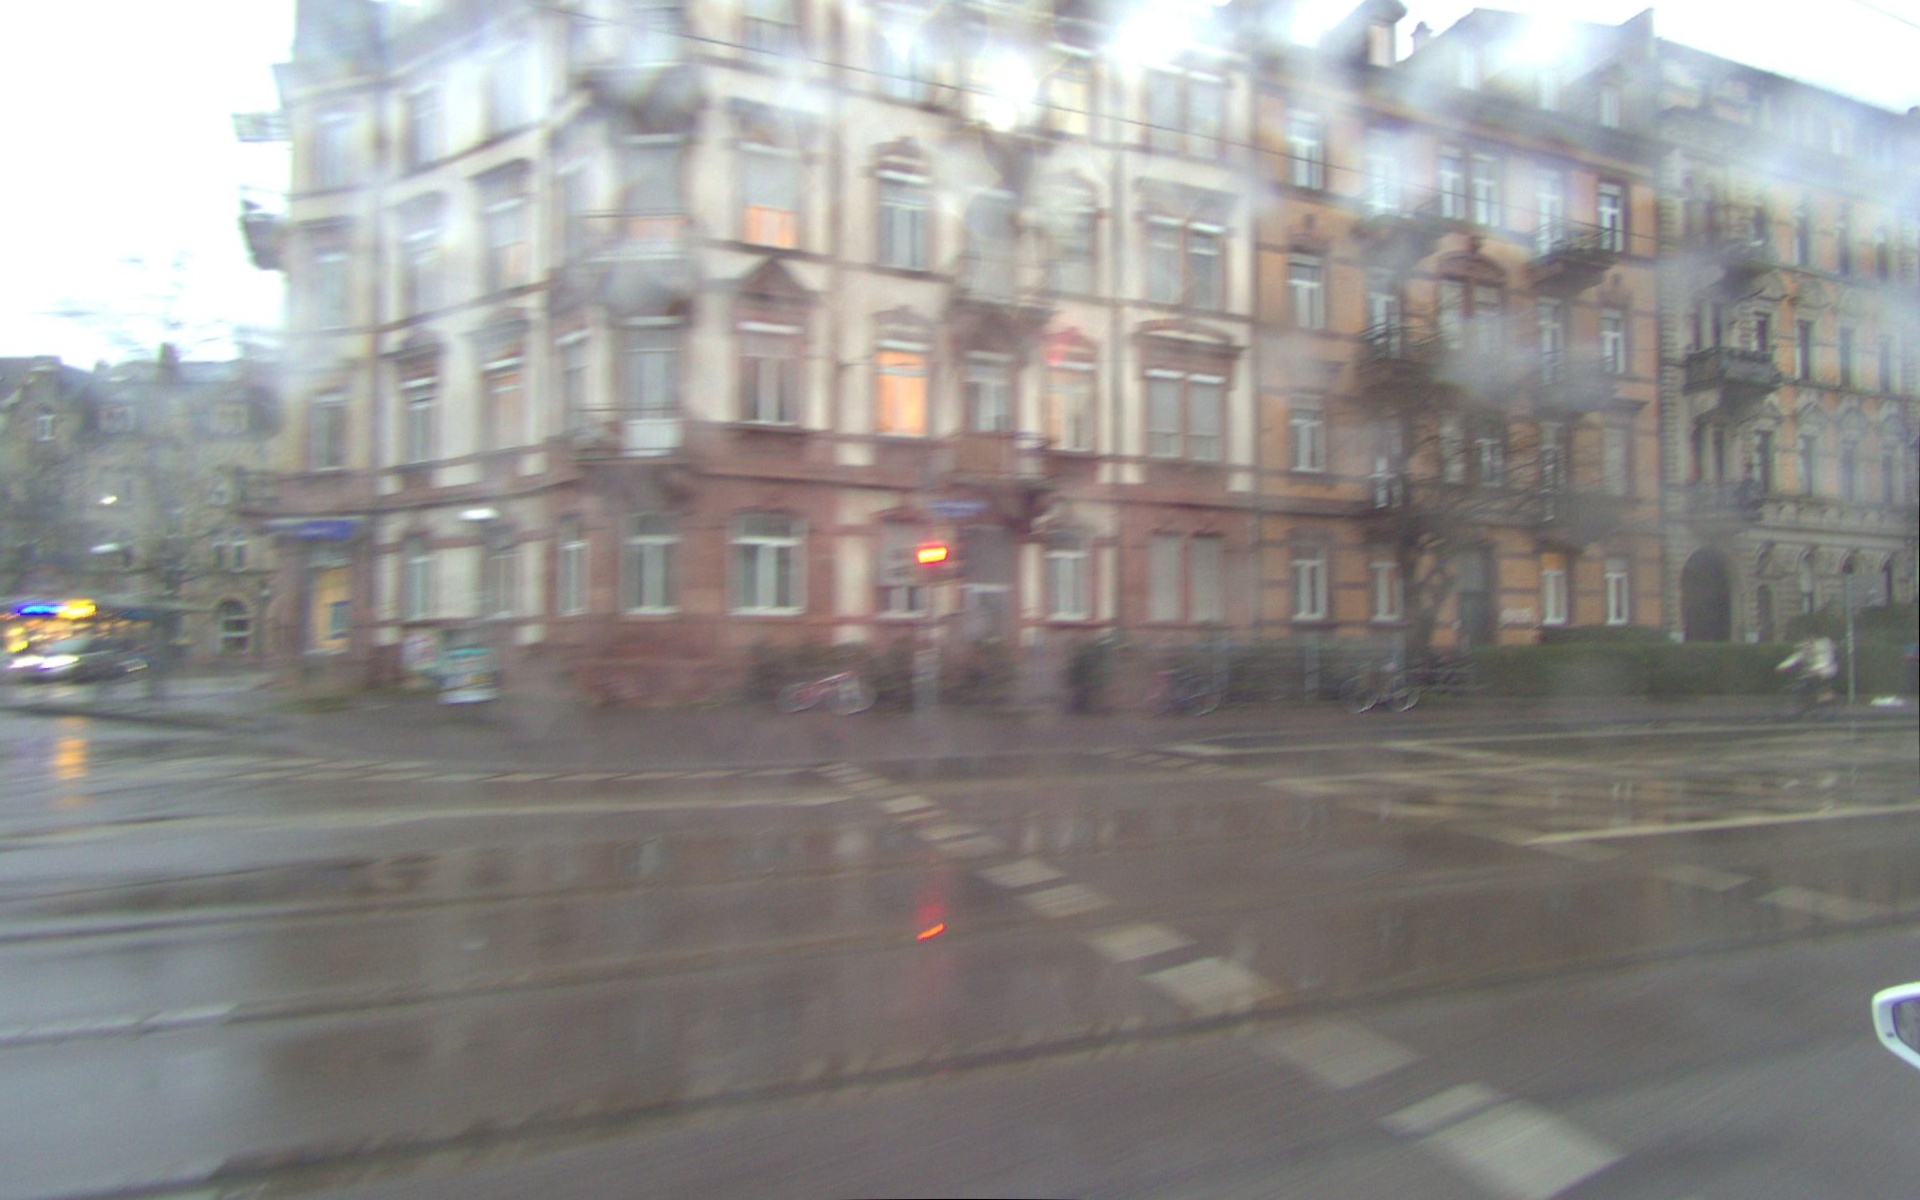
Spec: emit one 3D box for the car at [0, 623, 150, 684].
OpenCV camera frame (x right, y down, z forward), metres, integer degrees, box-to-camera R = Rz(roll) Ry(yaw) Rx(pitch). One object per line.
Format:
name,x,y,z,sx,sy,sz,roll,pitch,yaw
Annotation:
car,-28.236,1.685,31.717,1.842,1.795,3.866,-1,-3,8

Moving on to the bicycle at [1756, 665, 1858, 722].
bicycle,16.100,1.764,19.098,1.775,1.020,0.681,1,-2,-20

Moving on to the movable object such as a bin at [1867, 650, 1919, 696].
movable object such as a bin,26.089,1.998,27.783,0.932,1.223,1.182,1,-2,-23

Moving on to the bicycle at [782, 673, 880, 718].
bicycle,-2.391,1.762,18.558,1.774,0.769,0.401,0,-2,16

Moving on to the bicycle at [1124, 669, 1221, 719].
bicycle,3.910,1.715,18.450,1.820,0.873,0.399,1,-2,-20

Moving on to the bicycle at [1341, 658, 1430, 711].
bicycle,8.437,1.666,19.920,1.820,1.020,0.416,1,-2,-20

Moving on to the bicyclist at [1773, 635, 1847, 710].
bicyclist,16.169,1.367,19.116,0.929,1.382,0.704,1,0,-19
